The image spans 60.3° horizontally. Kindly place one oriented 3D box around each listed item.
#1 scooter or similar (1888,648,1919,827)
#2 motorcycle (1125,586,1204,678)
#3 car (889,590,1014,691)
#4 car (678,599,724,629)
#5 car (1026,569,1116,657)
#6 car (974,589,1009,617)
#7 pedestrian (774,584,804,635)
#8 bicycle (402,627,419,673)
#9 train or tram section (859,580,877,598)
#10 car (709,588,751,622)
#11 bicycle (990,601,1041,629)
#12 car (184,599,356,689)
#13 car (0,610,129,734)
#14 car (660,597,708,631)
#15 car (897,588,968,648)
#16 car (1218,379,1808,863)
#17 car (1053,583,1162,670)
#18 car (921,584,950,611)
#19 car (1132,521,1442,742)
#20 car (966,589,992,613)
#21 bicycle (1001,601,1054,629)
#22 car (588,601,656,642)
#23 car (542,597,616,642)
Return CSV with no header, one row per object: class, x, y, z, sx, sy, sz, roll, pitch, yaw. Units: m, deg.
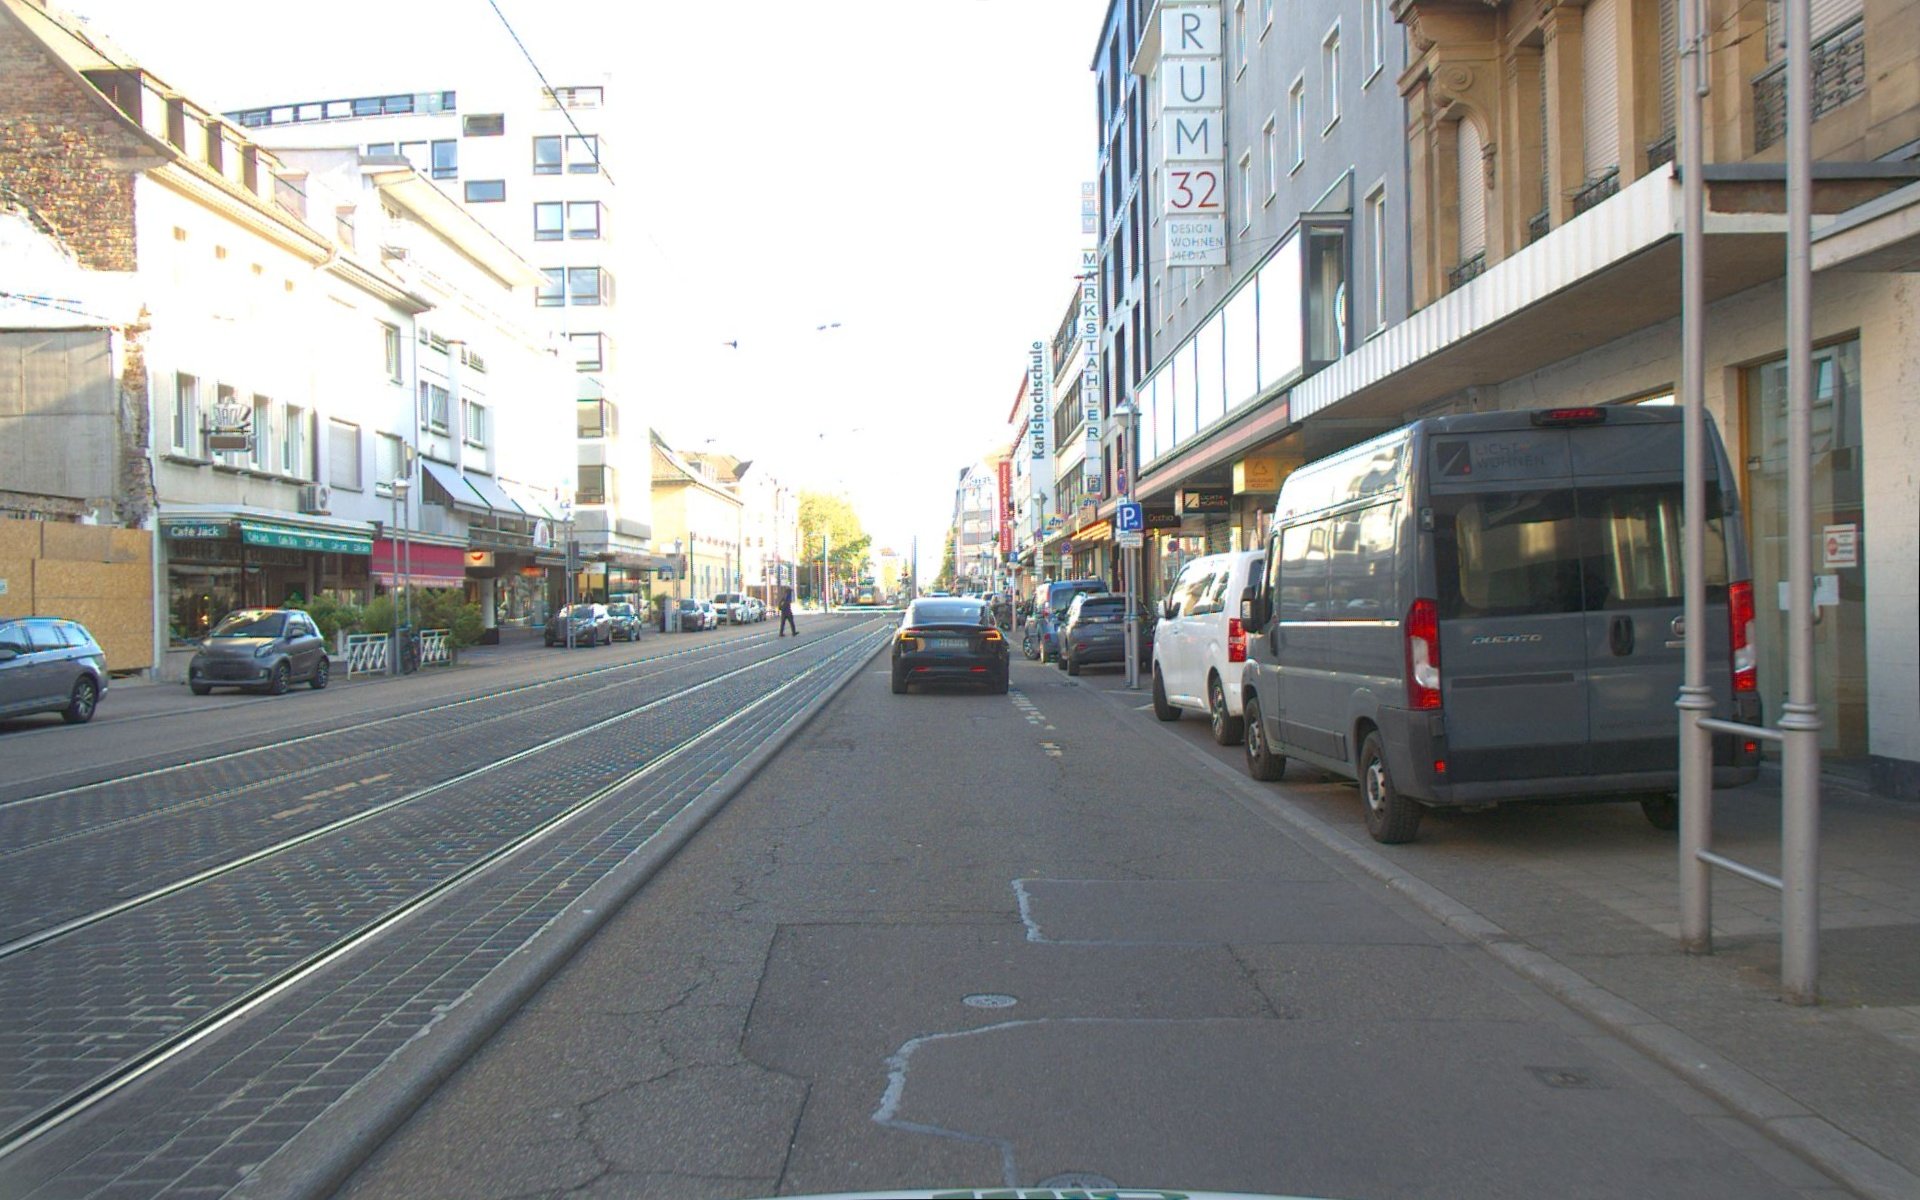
scooter or similar,5.478,0.737,8.526,0.581,0.952,1.298,-3,0,-3
motorcycle,3.250,0.506,26.568,0.797,1.338,2.632,-5,-1,-1
car,-0.139,0.582,26.429,1.831,1.452,4.364,-1,0,0
car,-13.940,0.712,89.083,1.733,1.535,3.972,-1,0,1
car,2.518,0.269,38.136,1.784,1.903,3.753,-1,0,0
car,1.889,0.200,99.020,1.953,1.570,3.999,-1,-1,-1
pedestrian,-6.450,0.366,62.364,0.757,1.881,0.827,-1,0,29
bicycle,-12.818,1.149,38.561,0.363,1.019,1.596,-1,0,-19
train or tram section,-13.587,-1.638,243.759,1.952,2.680,6.803,-1,0,2
car,-14.221,0.297,102.458,1.968,1.995,4.723,-1,0,-1
bicycle,2.342,0.629,70.207,2.116,1.116,0.686,-1,0,-3
car,-13.090,0.794,31.627,1.641,1.573,3.744,1,0,1
car,-13.125,0.922,21.867,1.953,1.558,4.755,0,-1,-2
car,-13.832,0.683,83.136,1.682,1.599,3.850,-1,0,1
car,-0.745,0.461,42.975,1.726,1.443,4.352,-1,-1,-2
car,3.412,0.091,11.612,2.127,2.504,5.360,-3,0,-2
car,2.800,0.463,32.003,1.716,1.525,3.753,-2,0,0
car,-1.771,-0.191,119.190,2.042,1.903,3.753,-1,0,0
car,3.392,0.286,18.190,2.116,1.959,4.614,-4,1,-4
car,1.448,0.061,127.510,1.953,1.784,3.999,-1,-1,-1
bicycle,2.822,0.607,69.330,2.116,1.116,0.686,-1,0,-3
car,-13.417,0.846,65.909,1.733,1.535,3.862,-1,0,3
car,-13.720,0.693,59.770,1.733,1.535,3.864,-1,0,0
